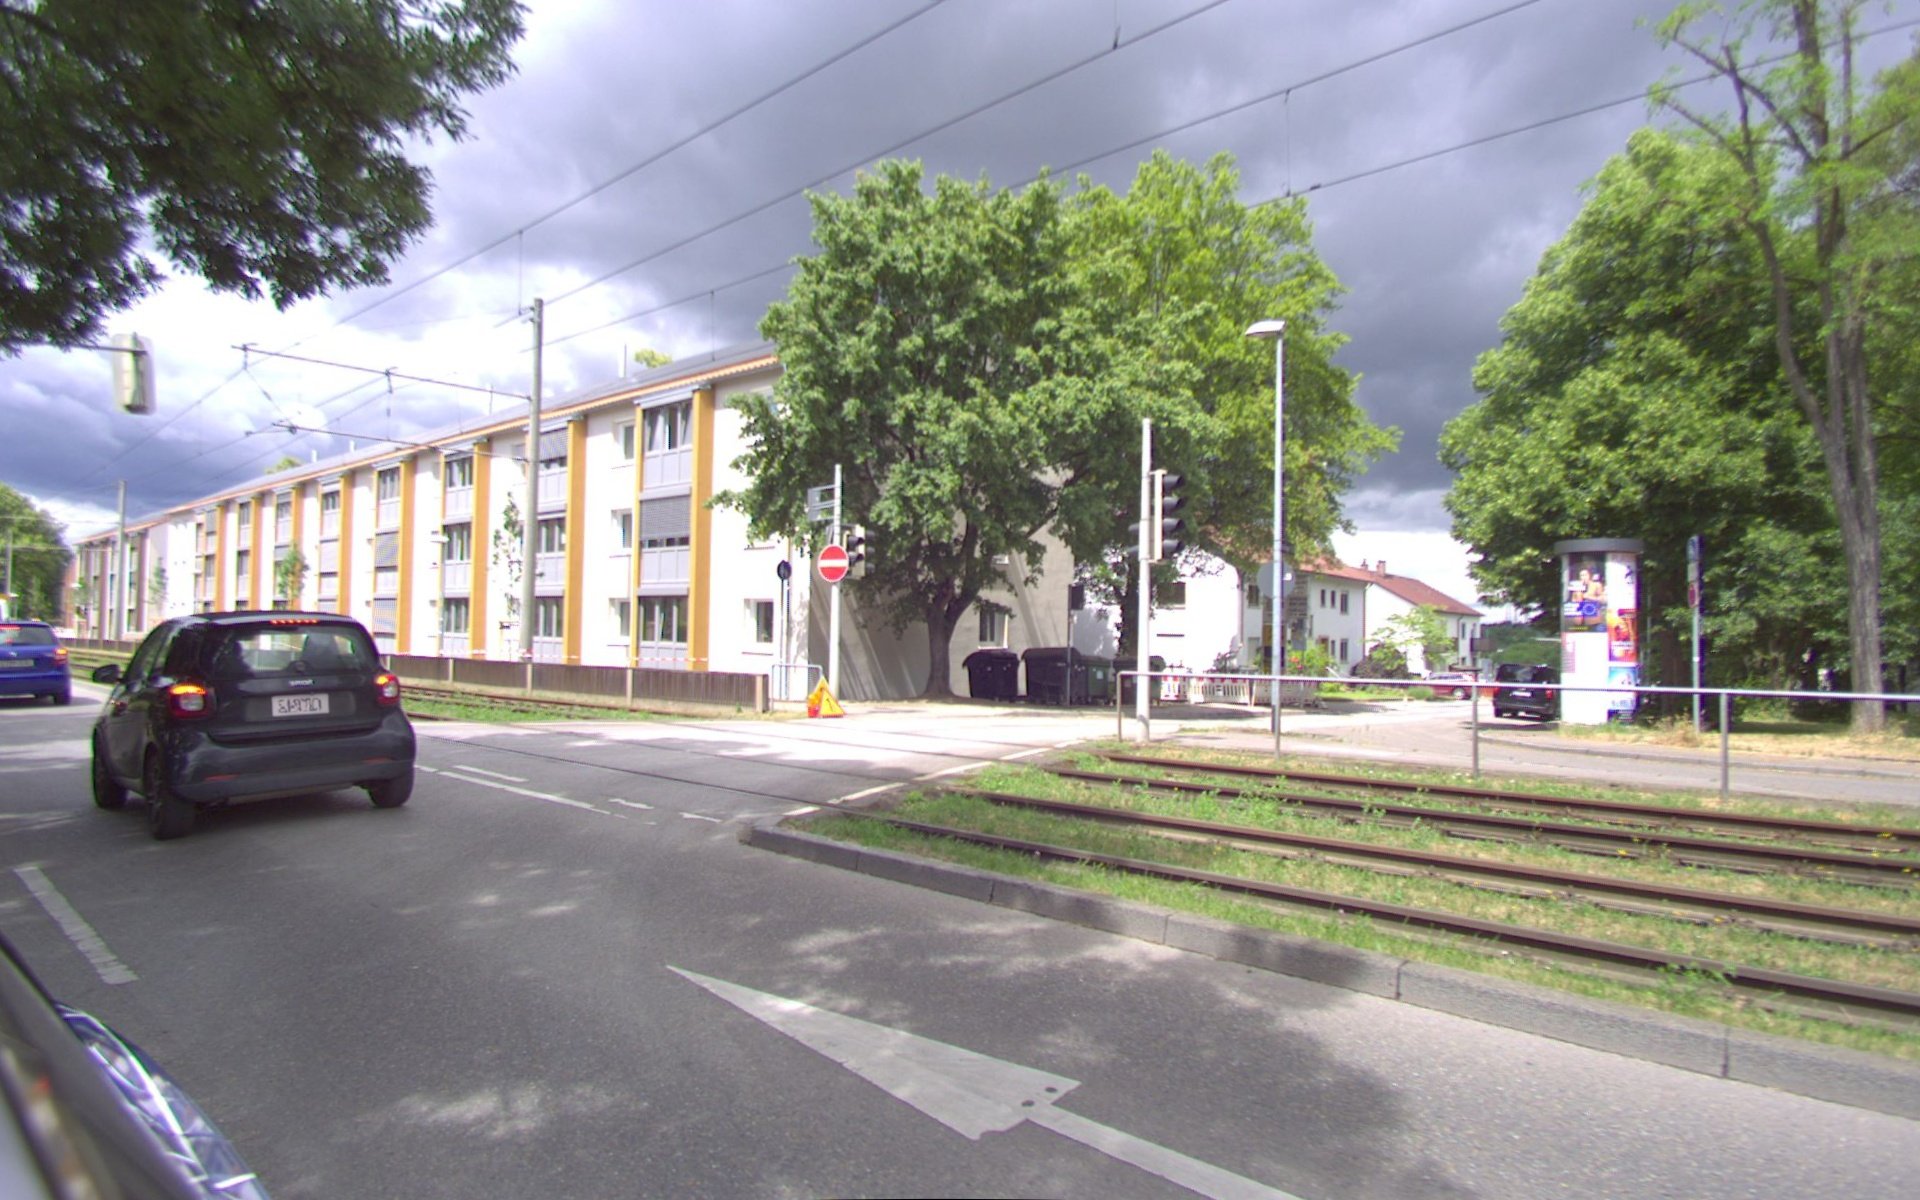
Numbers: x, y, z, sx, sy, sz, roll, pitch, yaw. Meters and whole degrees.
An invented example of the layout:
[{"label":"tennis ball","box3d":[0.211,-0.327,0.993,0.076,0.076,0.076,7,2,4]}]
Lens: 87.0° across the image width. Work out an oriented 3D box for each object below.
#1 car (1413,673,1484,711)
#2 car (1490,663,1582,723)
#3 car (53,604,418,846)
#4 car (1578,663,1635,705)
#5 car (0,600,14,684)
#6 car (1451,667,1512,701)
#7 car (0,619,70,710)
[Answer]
[{"label":"car","box3d":[30.301,5.683,62.797,3.623,2.029,1.938,0,0,40]},{"label":"car","box3d":[20.157,3.224,35.350,1.999,1.873,3.944,0,-4,42]},{"label":"car","box3d":[-5.914,0.836,8.151,3.272,1.545,1.620,-2,-1,40]},{"label":"car","box3d":[34.868,4.509,54.562,1.999,2.118,3.944,0,-4,42]},{"label":"car","box3d":[-25.451,1.043,25.347,4.782,2.011,1.973,-1,-1,40]},{"label":"car","box3d":[35.864,5.727,69.585,3.611,2.029,1.944,0,0,30]},{"label":"car","box3d":[-17.311,1.115,18.103,3.803,1.497,1.565,-1,-1,40]}]
